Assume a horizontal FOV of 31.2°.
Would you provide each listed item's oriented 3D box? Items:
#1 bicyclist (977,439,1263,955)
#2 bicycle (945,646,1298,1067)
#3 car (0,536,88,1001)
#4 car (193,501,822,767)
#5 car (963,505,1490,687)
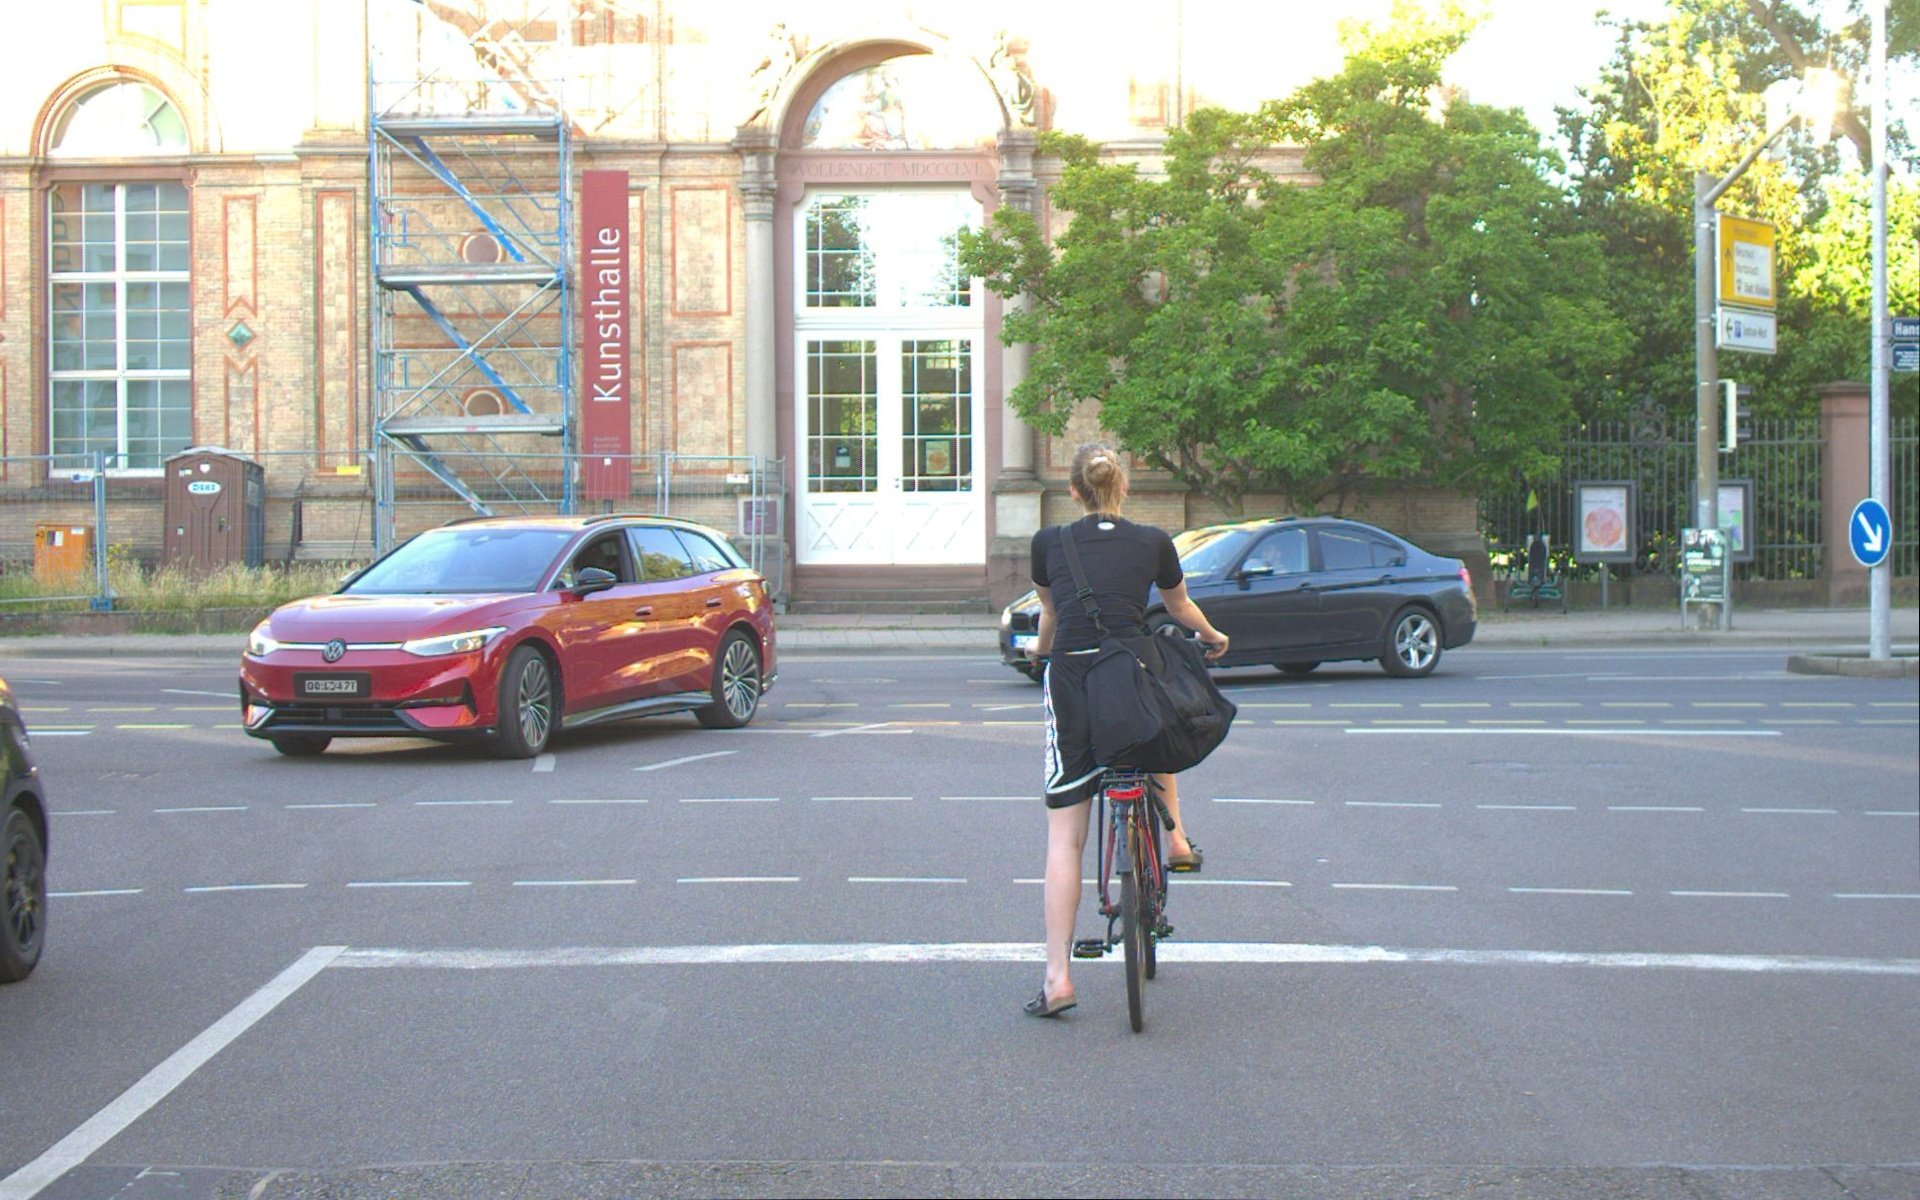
[{"bbox_3d":[0.500,0.285,10.475,0.716,1.497,0.850,0,0,14],"label":"bicyclist"},{"bbox_3d":[0.549,0.732,10.684,0.712,1.152,2.067,0,0,14],"label":"bicycle"},{"bbox_3d":[-3.940,0.599,10.036,1.658,1.466,3.854,-1,2,2],"label":"car"},{"bbox_3d":[-2.902,0.149,23.295,1.833,1.540,4.841,0,2,26],"label":"car"},{"bbox_3d":[2.382,-0.073,30.315,4.409,1.454,1.788,-2,1,-32],"label":"car"}]
